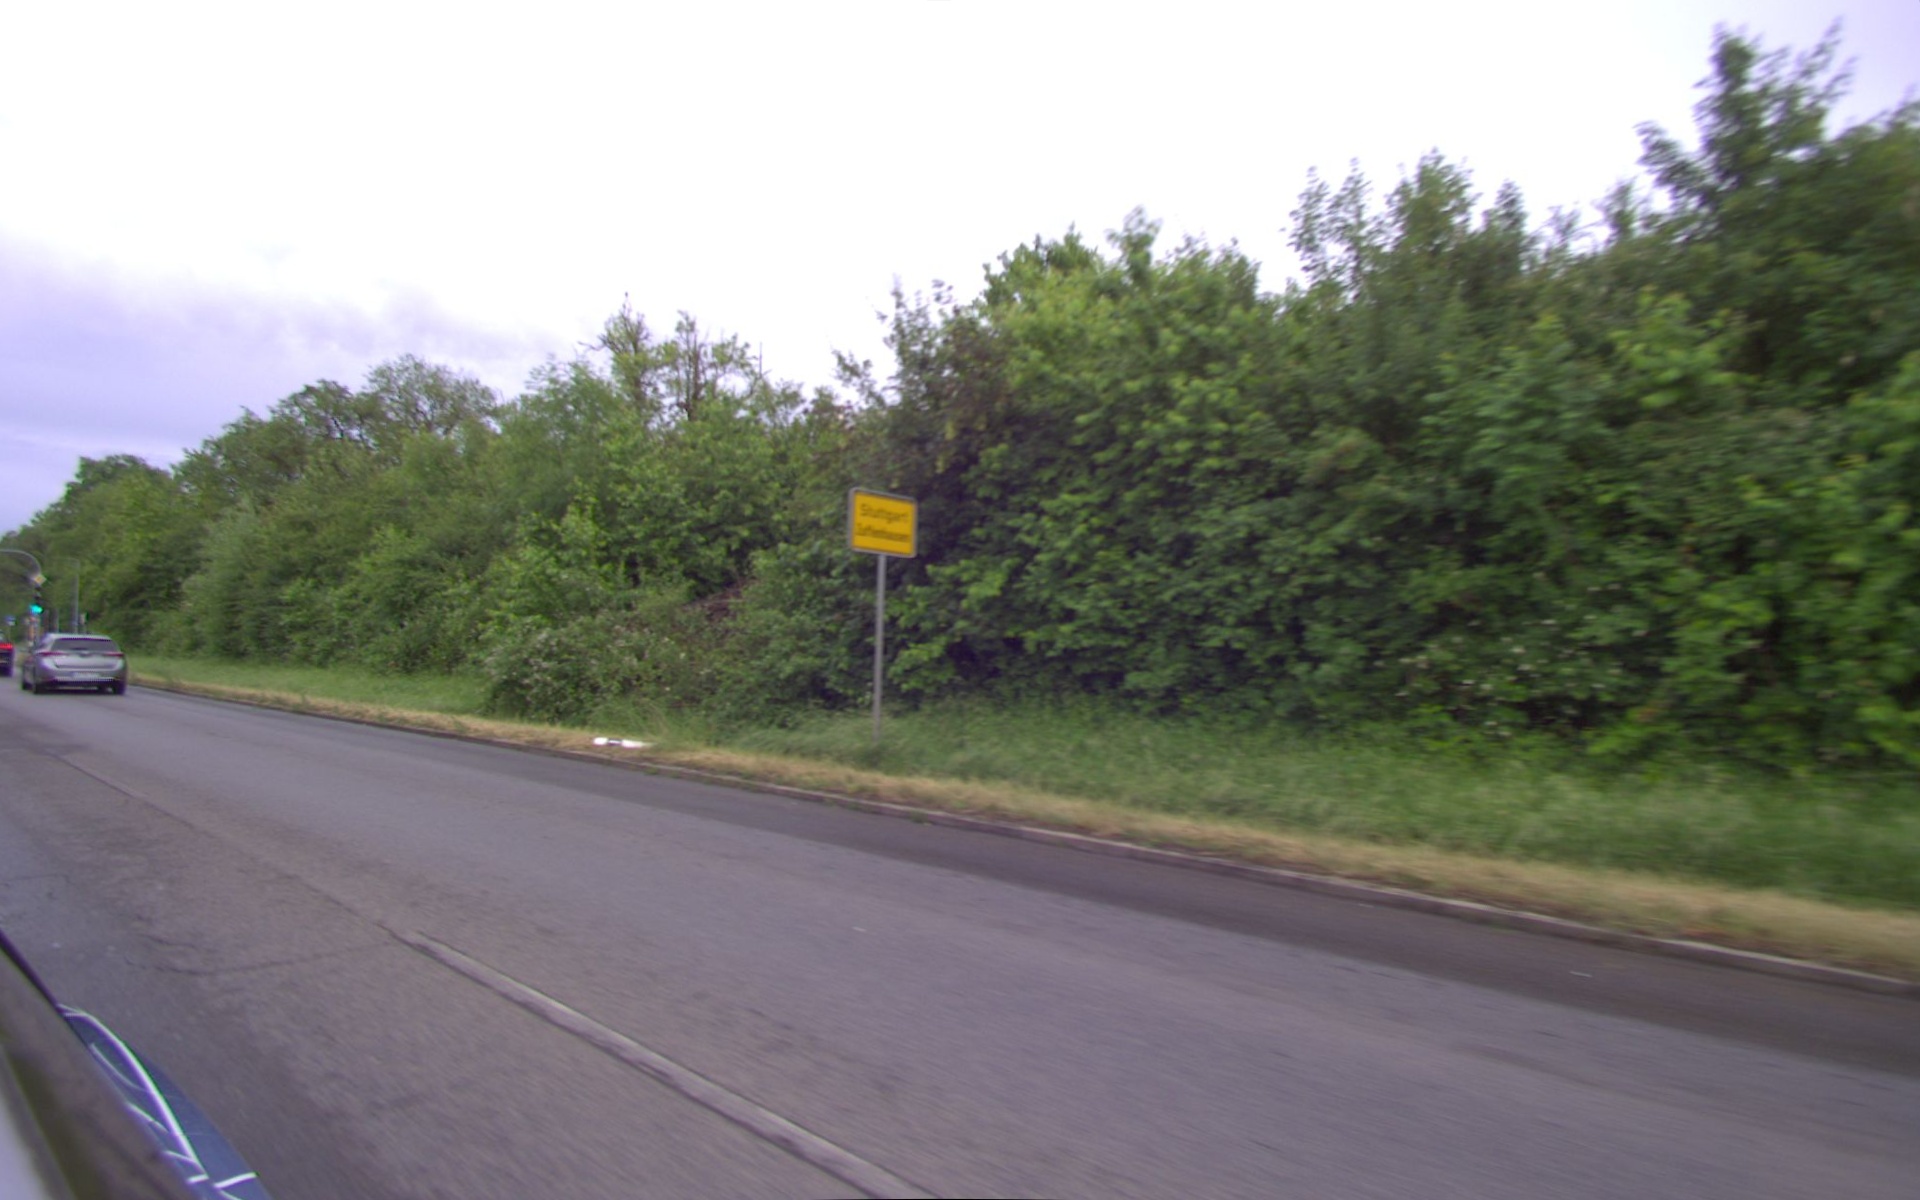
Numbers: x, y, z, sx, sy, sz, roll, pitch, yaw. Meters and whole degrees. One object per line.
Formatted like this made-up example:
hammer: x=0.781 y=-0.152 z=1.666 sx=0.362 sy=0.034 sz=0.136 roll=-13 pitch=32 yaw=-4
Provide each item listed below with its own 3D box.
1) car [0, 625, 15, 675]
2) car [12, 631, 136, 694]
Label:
car: x=-32.751 y=1.616 z=33.390 sx=4.278 sy=1.606 sz=1.715 roll=-2 pitch=-4 yaw=40
car: x=-22.083 y=1.518 z=25.174 sx=4.177 sy=1.443 sz=1.783 roll=-2 pitch=-4 yaw=42
